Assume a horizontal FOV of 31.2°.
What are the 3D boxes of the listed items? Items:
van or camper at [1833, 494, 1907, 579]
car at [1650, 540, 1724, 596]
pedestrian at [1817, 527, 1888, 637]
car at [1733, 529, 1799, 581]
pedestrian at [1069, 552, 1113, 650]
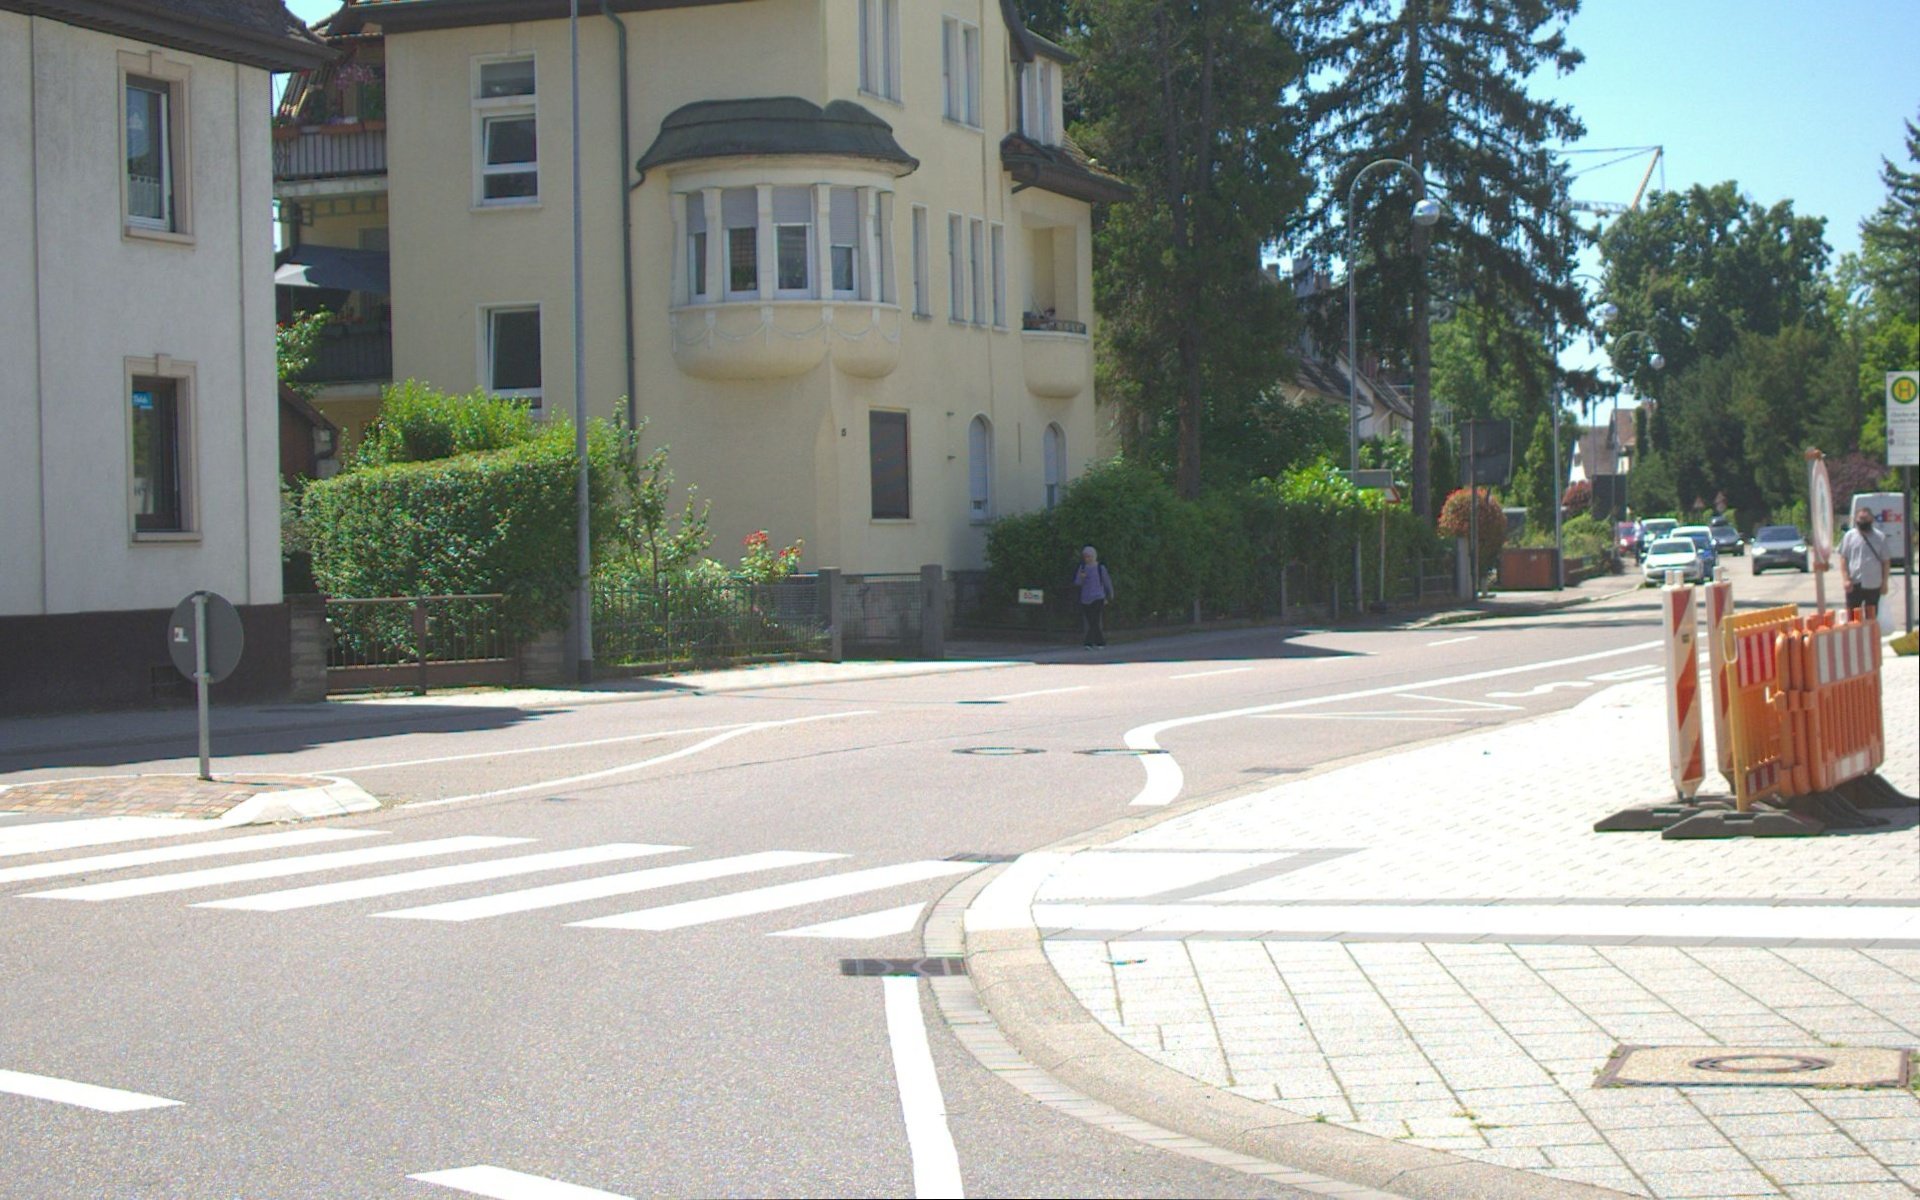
[{"bbox_3d":[28.884,-2.006,109.160,2.207,2.602,3.997,0,1,14],"label":"van or camper"},{"bbox_3d":[22.086,-0.987,104.347,1.995,1.645,3.997,0,1,15],"label":"car"},{"bbox_3d":[10.932,-0.222,42.105,0.667,1.281,0.586,-4,0,24],"label":"pedestrian"},{"bbox_3d":[27.281,-1.523,116.289,1.995,1.711,3.997,0,1,16],"label":"car"},{"bbox_3d":[2.017,0.012,52.890,0.523,1.504,0.473,-1,1,22],"label":"pedestrian"}]
